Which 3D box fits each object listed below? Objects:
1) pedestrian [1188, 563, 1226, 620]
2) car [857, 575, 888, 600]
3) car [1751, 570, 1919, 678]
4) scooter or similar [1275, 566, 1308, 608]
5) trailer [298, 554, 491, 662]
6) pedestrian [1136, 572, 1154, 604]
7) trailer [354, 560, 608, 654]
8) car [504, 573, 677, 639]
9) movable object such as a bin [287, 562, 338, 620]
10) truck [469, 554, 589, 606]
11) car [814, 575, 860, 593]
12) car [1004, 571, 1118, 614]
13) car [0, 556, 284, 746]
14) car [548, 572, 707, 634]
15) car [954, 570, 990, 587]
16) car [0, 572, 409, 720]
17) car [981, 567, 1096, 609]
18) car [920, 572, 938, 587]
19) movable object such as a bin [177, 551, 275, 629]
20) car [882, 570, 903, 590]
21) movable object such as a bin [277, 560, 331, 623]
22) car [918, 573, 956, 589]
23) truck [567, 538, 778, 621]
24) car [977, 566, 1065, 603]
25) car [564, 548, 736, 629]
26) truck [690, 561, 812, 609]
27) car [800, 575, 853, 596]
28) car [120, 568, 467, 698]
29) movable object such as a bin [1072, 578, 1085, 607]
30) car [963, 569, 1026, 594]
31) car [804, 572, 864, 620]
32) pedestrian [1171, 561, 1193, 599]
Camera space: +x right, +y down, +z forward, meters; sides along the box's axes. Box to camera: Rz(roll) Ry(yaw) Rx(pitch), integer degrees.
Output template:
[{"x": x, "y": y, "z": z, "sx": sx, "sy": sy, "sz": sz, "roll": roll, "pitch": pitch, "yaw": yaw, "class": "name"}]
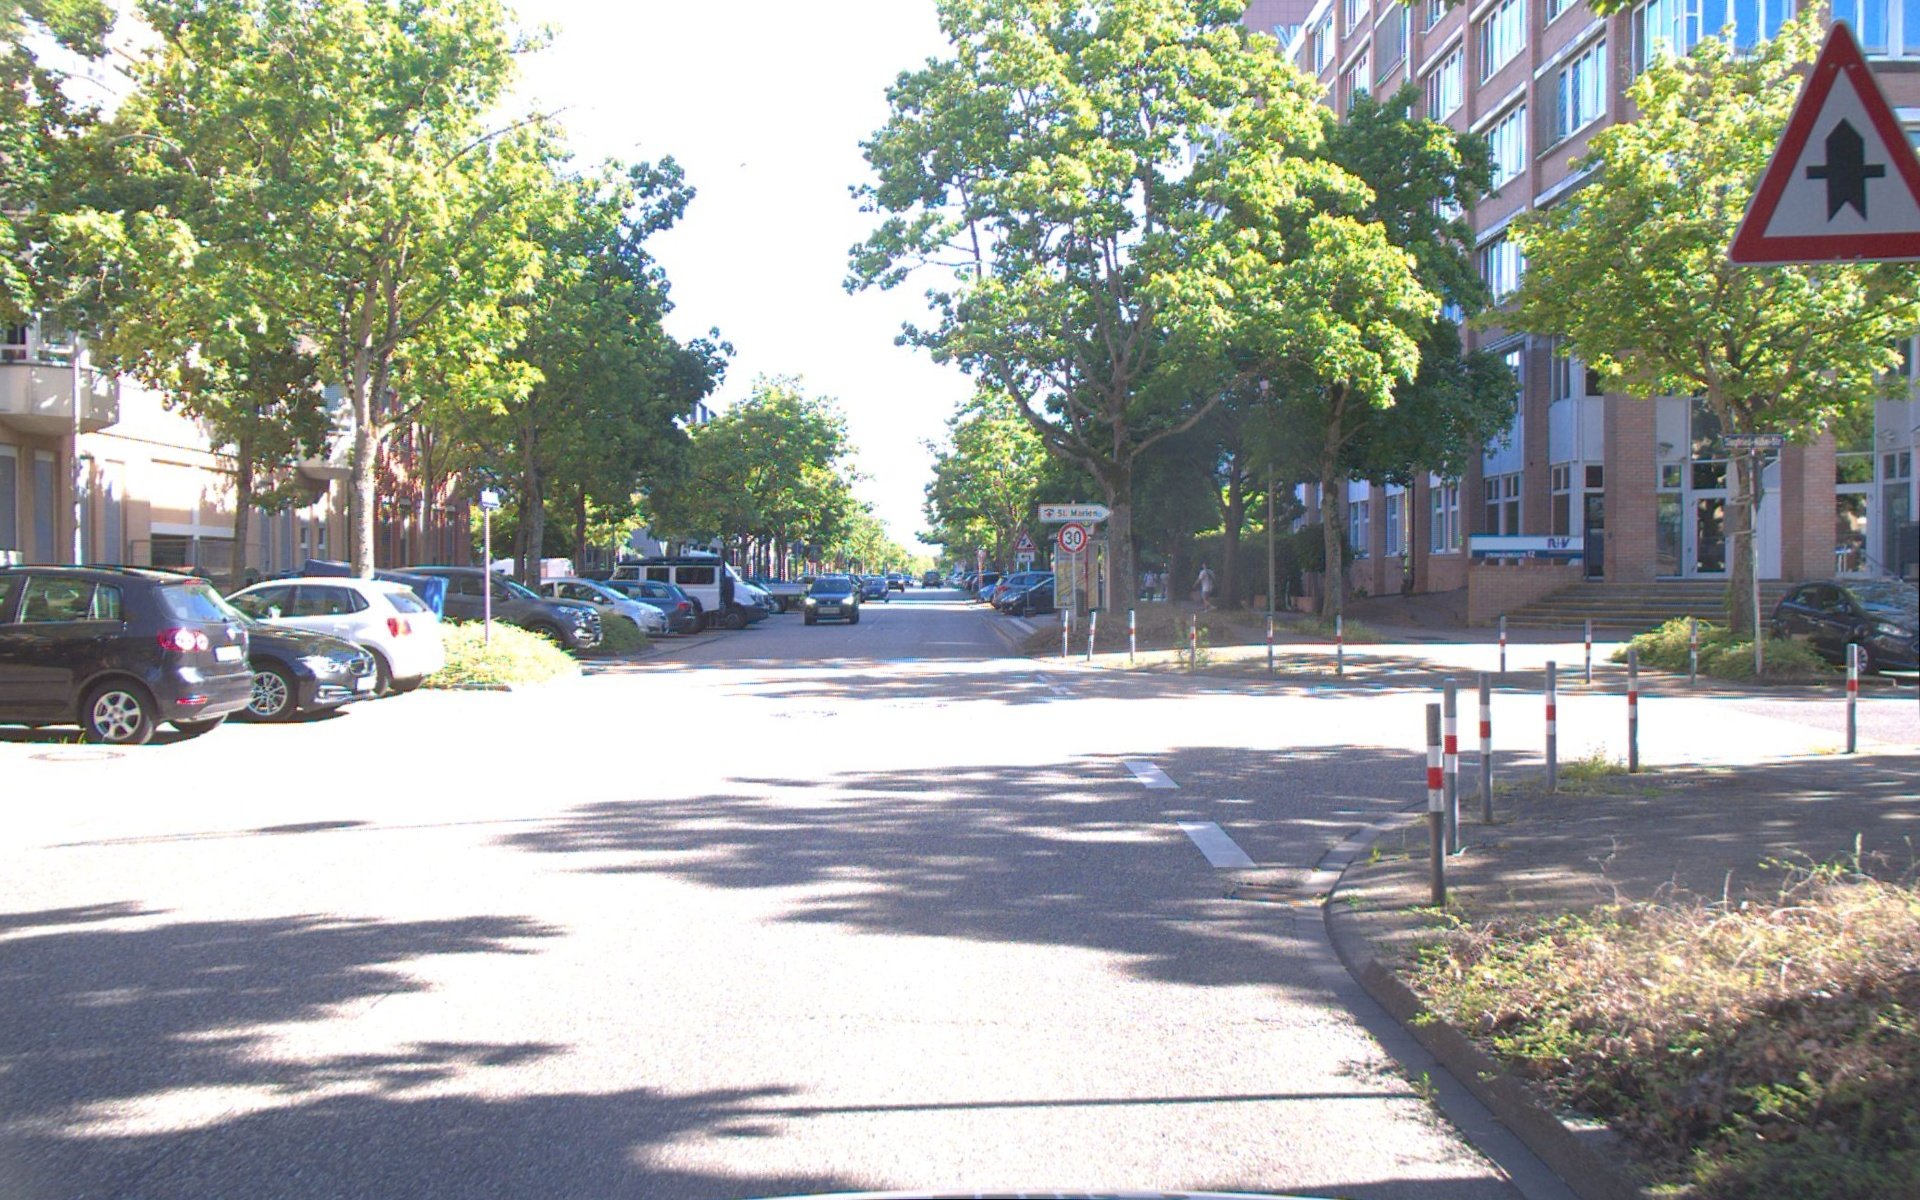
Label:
[{"x": 7.826, "y": -0.285, "z": 52.436, "sx": 0.902, "sy": 1.740, "sz": 0.695, "roll": -4, "pitch": 1, "yaw": -14, "class": "pedestrian"}, {"x": -5.074, "y": -0.743, "z": 96.364, "sx": 1.610, "sy": 1.445, "sz": 3.999, "roll": -1, "pitch": 1, "yaw": -1, "class": "car"}, {"x": 13.853, "y": 0.299, "z": 25.279, "sx": 1.618, "sy": 1.488, "sz": 3.917, "roll": 0, "pitch": 1, "yaw": -1, "class": "car"}, {"x": 10.879, "y": -0.431, "z": 54.353, "sx": 0.538, "sy": 1.348, "sz": 1.804, "roll": 1, "pitch": 0, "yaw": -6, "class": "scooter or similar"}, {"x": -9.582, "y": 0.117, "z": 28.175, "sx": 2.669, "sy": 1.716, "sz": 1.712, "roll": 1, "pitch": 1, "yaw": -1, "class": "trailer"}, {"x": 8.666, "y": -0.586, "z": 77.537, "sx": 0.686, "sy": 1.483, "sz": 0.715, "roll": -1, "pitch": 1, "yaw": -4, "class": "pedestrian"}, {"x": -8.762, "y": 0.118, "z": 30.544, "sx": 4.177, "sy": 1.599, "sz": 1.855, "roll": 1, "pitch": 1, "yaw": -5, "class": "trailer"}, {"x": -8.904, "y": 0.134, "z": 40.055, "sx": 3.755, "sy": 1.486, "sz": 1.733, "roll": 1, "pitch": 1, "yaw": 2, "class": "car"}, {"x": -17.969, "y": -0.257, "z": 45.914, "sx": 1.125, "sy": 1.590, "sz": 1.240, "roll": -1, "pitch": 1, "yaw": -13, "class": "movable object such as a bin"}, {"x": -23.850, "y": -1.119, "z": 91.681, "sx": 5.982, "sy": 2.752, "sz": 2.577, "roll": -1, "pitch": 1, "yaw": -3, "class": "truck"}, {"x": -10.367, "y": -1.392, "z": 139.959, "sx": 3.814, "sy": 1.489, "sz": 1.857, "roll": 0, "pitch": 1, "yaw": -2, "class": "car"}, {"x": 3.526, "y": -0.280, "z": 58.273, "sx": 3.856, "sy": 1.464, "sz": 1.773, "roll": 0, "pitch": 1, "yaw": -3, "class": "car"}, {"x": -8.607, "y": 0.405, "z": 15.345, "sx": 3.906, "sy": 1.598, "sz": 1.728, "roll": 2, "pitch": 1, "yaw": -2, "class": "car"}, {"x": -8.572, "y": 0.064, "z": 42.873, "sx": 3.701, "sy": 1.518, "sz": 1.833, "roll": 1, "pitch": 1, "yaw": 0, "class": "car"}, {"x": 1.332, "y": -2.444, "z": 185.839, "sx": 3.910, "sy": 1.823, "sz": 1.998, "roll": 0, "pitch": 1, "yaw": -6, "class": "car"}, {"x": -8.389, "y": 0.466, "z": 18.105, "sx": 4.067, "sy": 1.427, "sz": 1.800, "roll": 2, "pitch": 1, "yaw": -2, "class": "car"}, {"x": 3.079, "y": -0.488, "z": 65.441, "sx": 4.269, "sy": 1.625, "sz": 1.936, "roll": 0, "pitch": 1, "yaw": -7, "class": "car"}, {"x": -3.402, "y": -2.203, "z": 179.712, "sx": 1.894, "sy": 1.625, "sz": 4.365, "roll": -1, "pitch": 1, "yaw": -1, "class": "car"}, {"x": -17.509, "y": -0.250, "z": 39.521, "sx": 1.566, "sy": 1.828, "sz": 1.664, "roll": 0, "pitch": 1, "yaw": 1, "class": "movable object such as a bin"}, {"x": -6.097, "y": -1.817, "z": 148.547, "sx": 1.854, "sy": 1.713, "sz": 4.350, "roll": -1, "pitch": 1, "yaw": -3, "class": "car"}, {"x": -17.695, "y": -0.244, "z": 44.630, "sx": 1.125, "sy": 1.648, "sz": 1.437, "roll": -1, "pitch": 1, "yaw": -13, "class": "movable object such as a bin"}, {"x": -2.511, "y": -2.037, "z": 177.845, "sx": 3.910, "sy": 1.652, "sz": 1.998, "roll": 0, "pitch": 1, "yaw": -6, "class": "car"}, {"x": -8.774, "y": -0.642, "z": 50.970, "sx": 6.105, "sy": 2.464, "sz": 2.187, "roll": 0, "pitch": 1, "yaw": -1, "class": "truck"}, {"x": 3.078, "y": -0.800, "z": 84.013, "sx": 4.317, "sy": 1.646, "sz": 1.911, "roll": -3, "pitch": 1, "yaw": -2, "class": "car"}, {"x": -8.506, "y": -0.310, "z": 45.687, "sx": 4.392, "sy": 2.087, "sz": 1.999, "roll": 1, "pitch": 0, "yaw": -3, "class": "car"}, {"x": -8.834, "y": -0.637, "z": 70.205, "sx": 4.881, "sy": 1.993, "sz": 2.139, "roll": 0, "pitch": 1, "yaw": 1, "class": "truck"}, {"x": -9.553, "y": -1.057, "z": 118.606, "sx": 3.657, "sy": 1.489, "sz": 1.676, "roll": 0, "pitch": 1, "yaw": -2, "class": "car"}, {"x": -8.404, "y": 0.393, "z": 21.097, "sx": 3.678, "sy": 1.477, "sz": 1.754, "roll": 2, "pitch": 1, "yaw": -2, "class": "car"}, {"x": 3.130, "y": -0.196, "z": 43.655, "sx": 0.292, "sy": 0.767, "sz": 0.467, "roll": -2, "pitch": 0, "yaw": -1, "class": "movable object such as a bin"}, {"x": 2.360, "y": -1.281, "z": 114.137, "sx": 4.183, "sy": 1.662, "sz": 1.857, "roll": -1, "pitch": 1, "yaw": -4, "class": "car"}, {"x": -4.195, "y": -0.170, "z": 55.545, "sx": 1.743, "sy": 1.538, "sz": 4.000, "roll": 0, "pitch": 1, "yaw": -1, "class": "car"}, {"x": 10.414, "y": -0.952, "z": 77.694, "sx": 0.684, "sy": 1.740, "sz": 0.918, "roll": -4, "pitch": 1, "yaw": -12, "class": "pedestrian"}]
